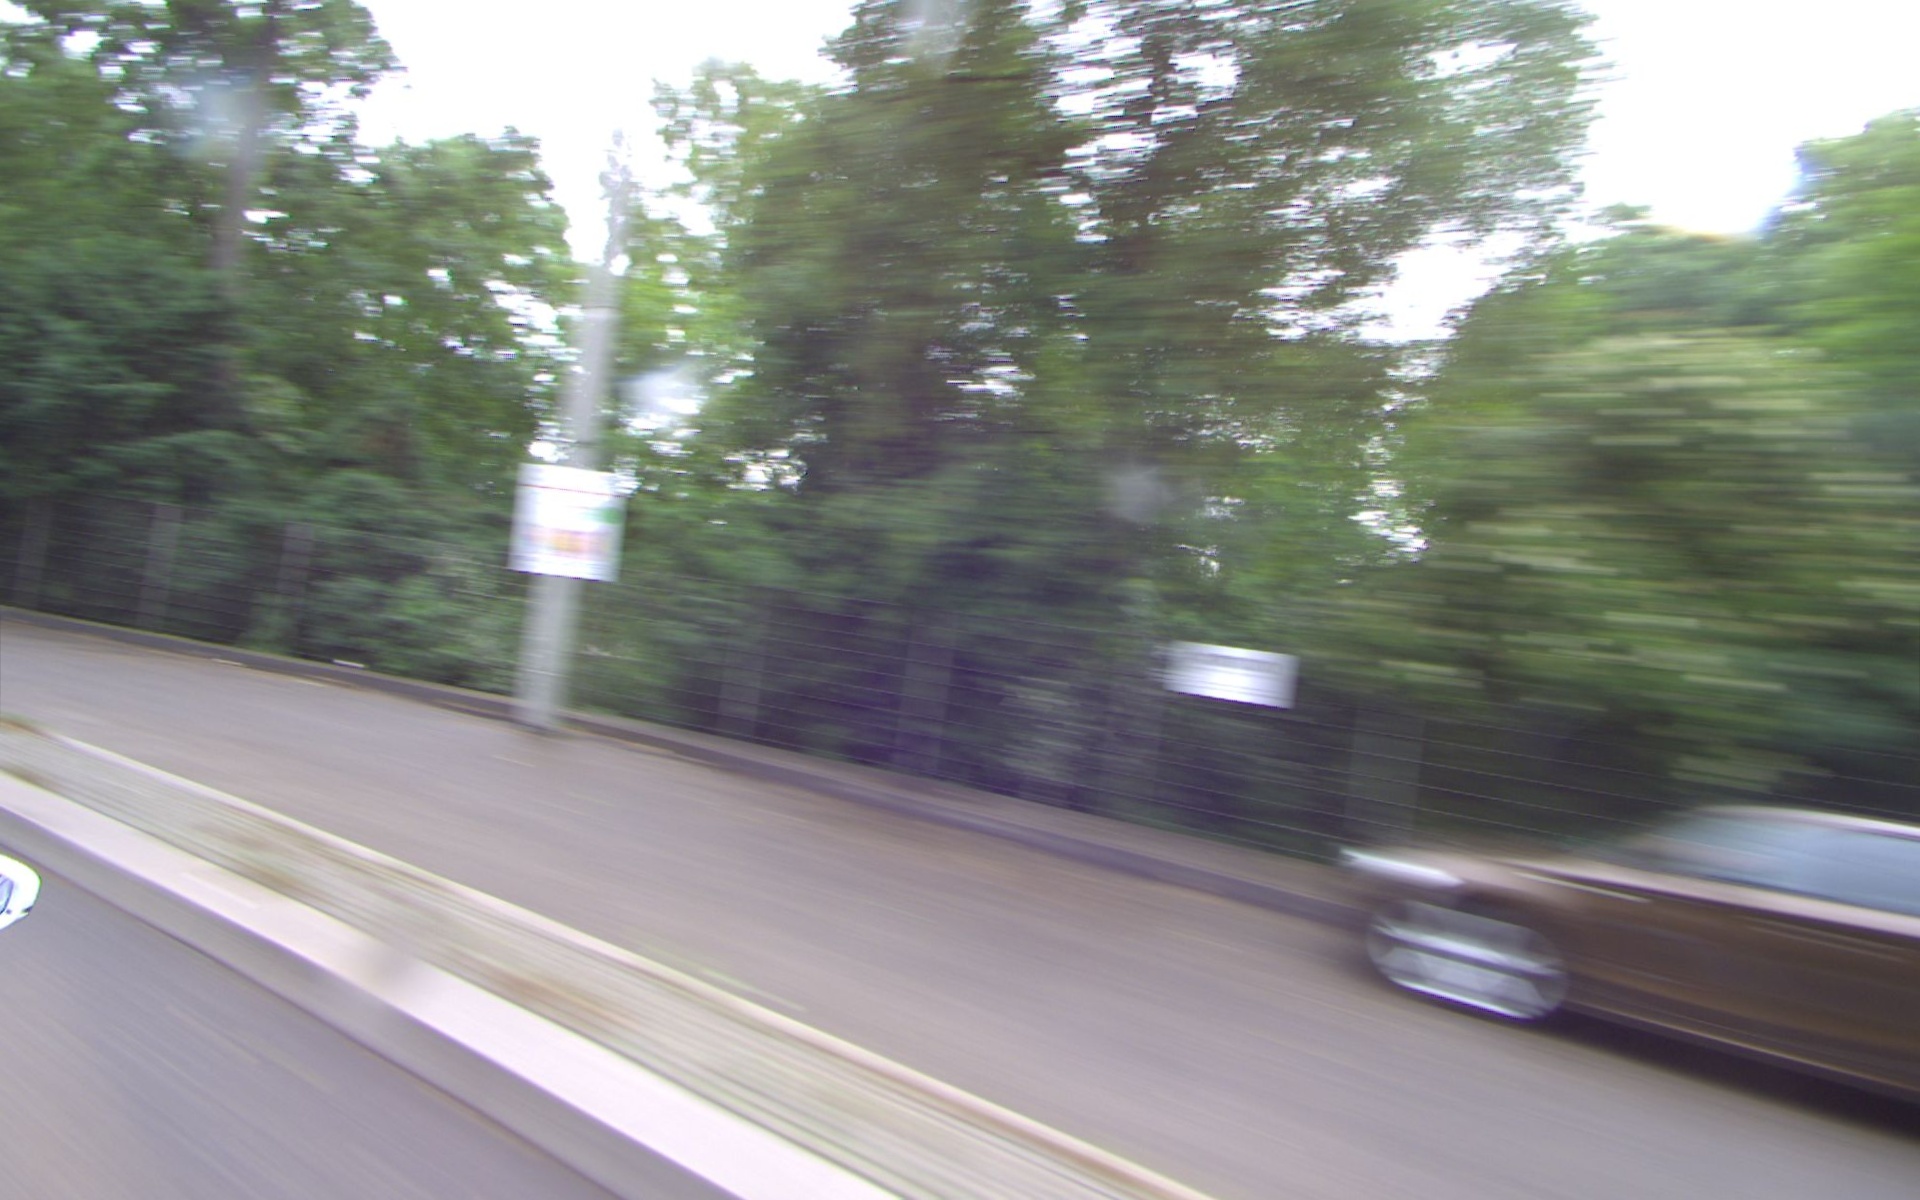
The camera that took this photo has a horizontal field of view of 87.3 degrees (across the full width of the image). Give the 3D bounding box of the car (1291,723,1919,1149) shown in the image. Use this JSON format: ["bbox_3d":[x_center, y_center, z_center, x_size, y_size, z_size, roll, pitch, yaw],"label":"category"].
[{"bbox_3d":[4.205,1.768,5.465,4.107,1.390,1.879,7,-6,34],"label":"car"}]
